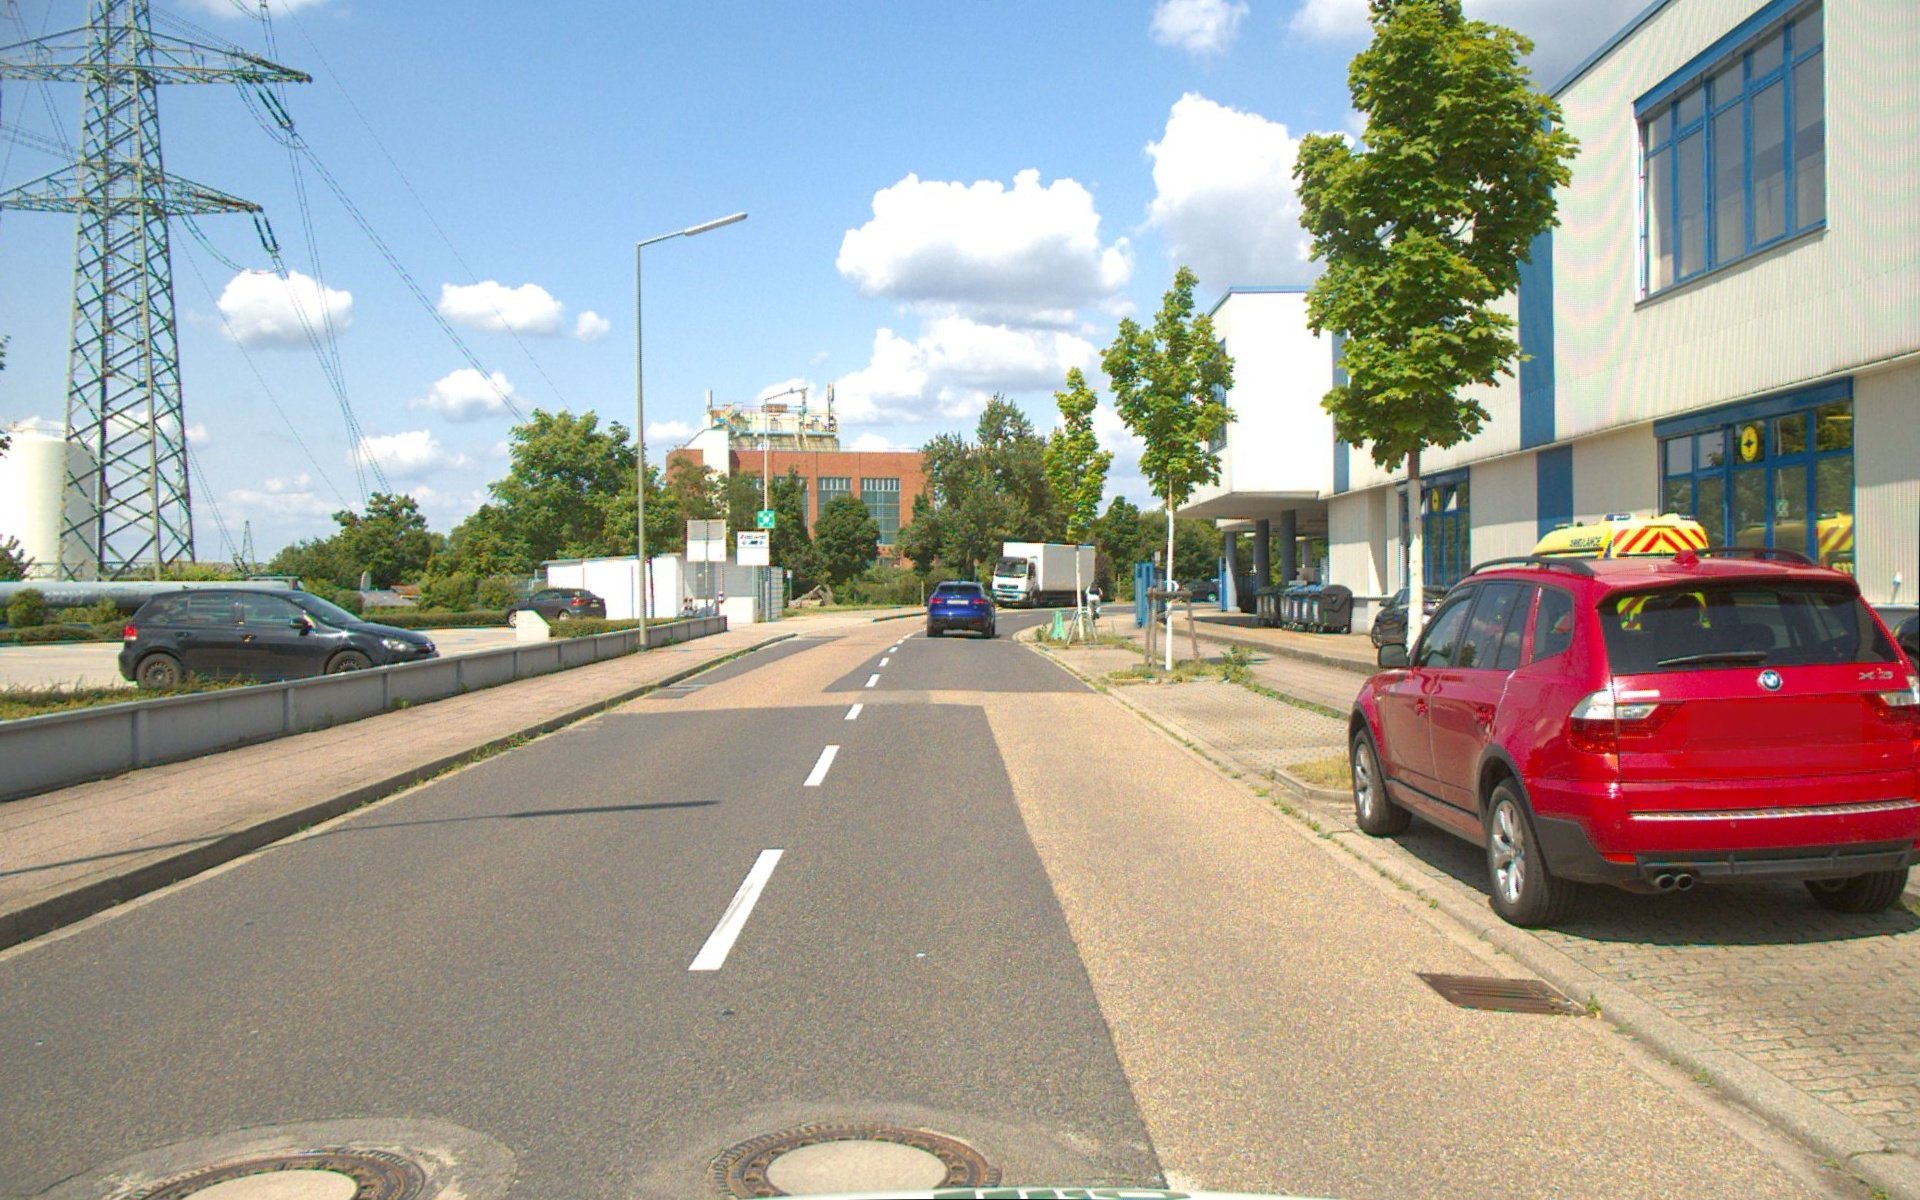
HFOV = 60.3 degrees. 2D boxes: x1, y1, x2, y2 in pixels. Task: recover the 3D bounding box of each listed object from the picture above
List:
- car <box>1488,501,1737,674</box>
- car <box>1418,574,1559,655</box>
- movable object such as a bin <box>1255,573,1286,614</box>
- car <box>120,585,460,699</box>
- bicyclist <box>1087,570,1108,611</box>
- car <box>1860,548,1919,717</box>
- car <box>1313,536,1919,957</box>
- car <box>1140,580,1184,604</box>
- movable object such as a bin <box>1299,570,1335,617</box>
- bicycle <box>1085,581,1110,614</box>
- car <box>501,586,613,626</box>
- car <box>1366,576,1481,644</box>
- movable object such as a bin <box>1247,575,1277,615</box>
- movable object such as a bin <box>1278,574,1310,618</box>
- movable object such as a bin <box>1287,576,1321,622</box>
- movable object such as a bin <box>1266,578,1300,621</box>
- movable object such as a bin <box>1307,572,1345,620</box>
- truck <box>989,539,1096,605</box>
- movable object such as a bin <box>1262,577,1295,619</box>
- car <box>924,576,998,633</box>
[{"bbox_3d":[10.349,-0.204,26.727,1.885,2.507,5.259,0,0,-1],"label":"car"},{"bbox_3d":[10.501,0.258,33.101,1.540,1.516,3.816,0,0,-1],"label":"car"},{"bbox_3d":[11.025,-0.223,58.800,0.788,1.438,1.357,0,0,-3],"label":"movable object such as a bin"},{"bbox_3d":[-9.140,0.543,22.806,3.906,1.400,1.803,-1,1,-1],"label":"car"},{"bbox_3d":[4.874,-0.336,58.688,0.649,1.422,0.859,-1,1,10],"label":"bicyclist"},{"bbox_3d":[10.416,0.302,15.422,1.679,1.680,4.214,-1,0,-1],"label":"car"},{"bbox_3d":[3.306,0.556,9.071,1.719,1.679,4.677,-1,1,0],"label":"car"},{"bbox_3d":[13.760,-0.571,112.589,2.837,1.597,1.891,-1,0,3],"label":"car"},{"bbox_3d":[11.115,-0.193,51.547,0.788,1.438,1.357,0,0,-2],"label":"movable object such as a bin"},{"bbox_3d":[4.878,-0.094,58.550,0.652,1.128,2.170,-1,1,10],"label":"bicycle"},{"bbox_3d":[-14.771,0.225,60.541,3.916,1.402,1.798,-1,1,33],"label":"car"},{"bbox_3d":[10.436,0.200,37.475,1.465,1.428,3.854,0,0,-1],"label":"car"},{"bbox_3d":[11.016,-0.176,60.279,0.788,1.438,1.357,0,0,-3],"label":"movable object such as a bin"},{"bbox_3d":[10.970,-0.136,54.363,0.788,1.438,1.174,0,0,-3],"label":"movable object such as a bin"},{"bbox_3d":[11.025,-0.039,53.044,0.788,1.438,1.357,0,0,-2],"label":"movable object such as a bin"},{"bbox_3d":[10.900,-0.034,55.812,0.788,1.438,1.426,0,0,-3],"label":"movable object such as a bin"},{"bbox_3d":[11.074,-0.118,50.078,0.788,1.438,1.357,0,0,-2],"label":"movable object such as a bin"},{"bbox_3d":[4.864,-1.710,95.000,2.277,3.629,9.352,1,2,29],"label":"truck"},{"bbox_3d":[11.049,-0.072,57.388,0.788,1.438,1.405,0,0,-3],"label":"movable object such as a bin"},{"bbox_3d":[0.076,0.120,49.739,1.869,1.621,4.704,-1,0,4],"label":"car"}]
